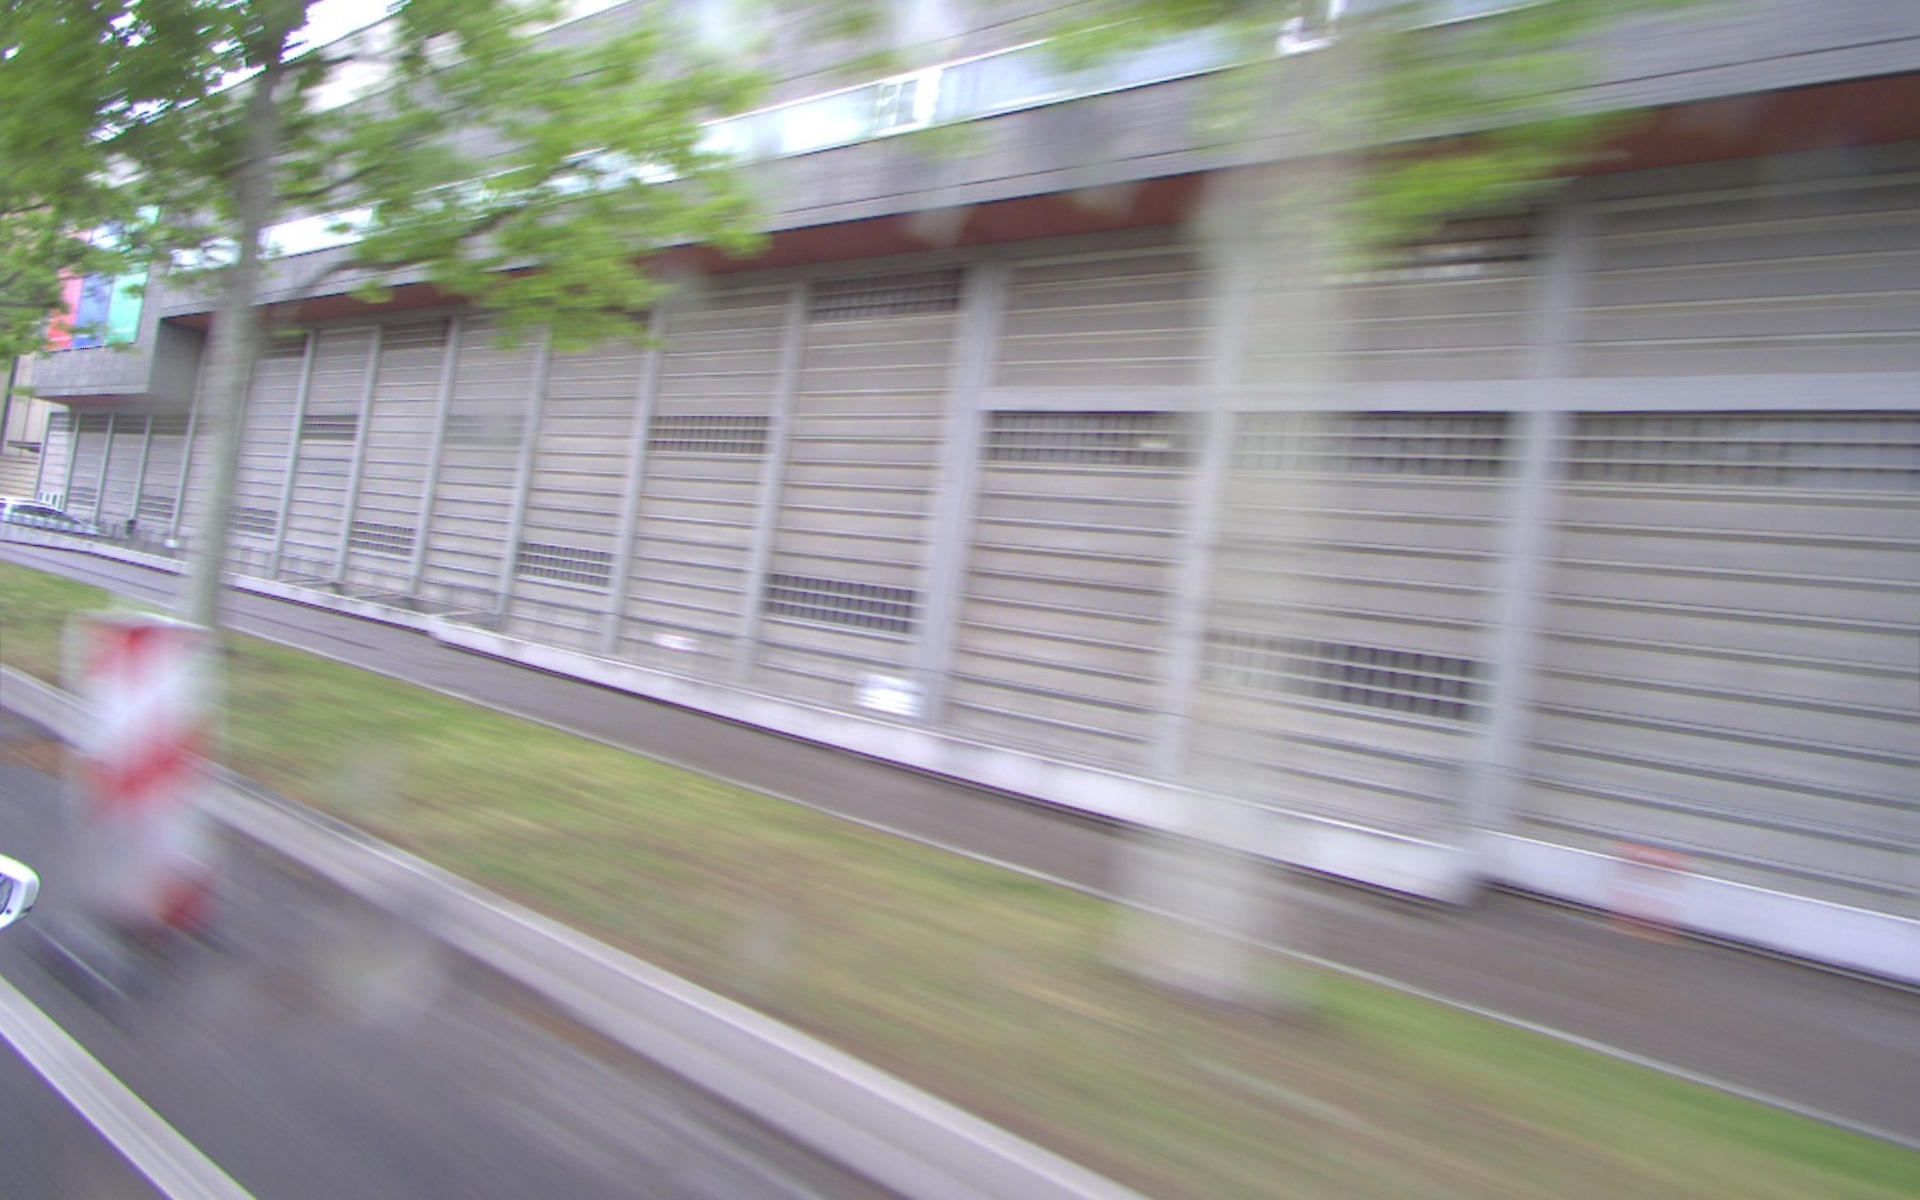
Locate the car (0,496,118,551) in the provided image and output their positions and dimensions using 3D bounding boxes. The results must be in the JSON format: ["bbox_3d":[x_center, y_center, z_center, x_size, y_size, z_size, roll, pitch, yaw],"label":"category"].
[{"bbox_3d":[-36.160,-3.022,39.687,1.902,1.576,3.995,4,-4,32],"label":"car"}]

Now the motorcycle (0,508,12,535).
[{"bbox_3d":[-59.861,-5.084,60.837,1.134,1.546,3.361,5,-7,33],"label":"motorcycle"}]

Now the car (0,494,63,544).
[{"bbox_3d":[-42.188,-3.657,44.746,5.014,1.779,1.998,5,-4,32],"label":"car"}]

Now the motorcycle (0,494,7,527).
[{"bbox_3d":[-61.749,-5.867,62.485,1.134,2.035,3.358,5,-4,33],"label":"motorcycle"}]
